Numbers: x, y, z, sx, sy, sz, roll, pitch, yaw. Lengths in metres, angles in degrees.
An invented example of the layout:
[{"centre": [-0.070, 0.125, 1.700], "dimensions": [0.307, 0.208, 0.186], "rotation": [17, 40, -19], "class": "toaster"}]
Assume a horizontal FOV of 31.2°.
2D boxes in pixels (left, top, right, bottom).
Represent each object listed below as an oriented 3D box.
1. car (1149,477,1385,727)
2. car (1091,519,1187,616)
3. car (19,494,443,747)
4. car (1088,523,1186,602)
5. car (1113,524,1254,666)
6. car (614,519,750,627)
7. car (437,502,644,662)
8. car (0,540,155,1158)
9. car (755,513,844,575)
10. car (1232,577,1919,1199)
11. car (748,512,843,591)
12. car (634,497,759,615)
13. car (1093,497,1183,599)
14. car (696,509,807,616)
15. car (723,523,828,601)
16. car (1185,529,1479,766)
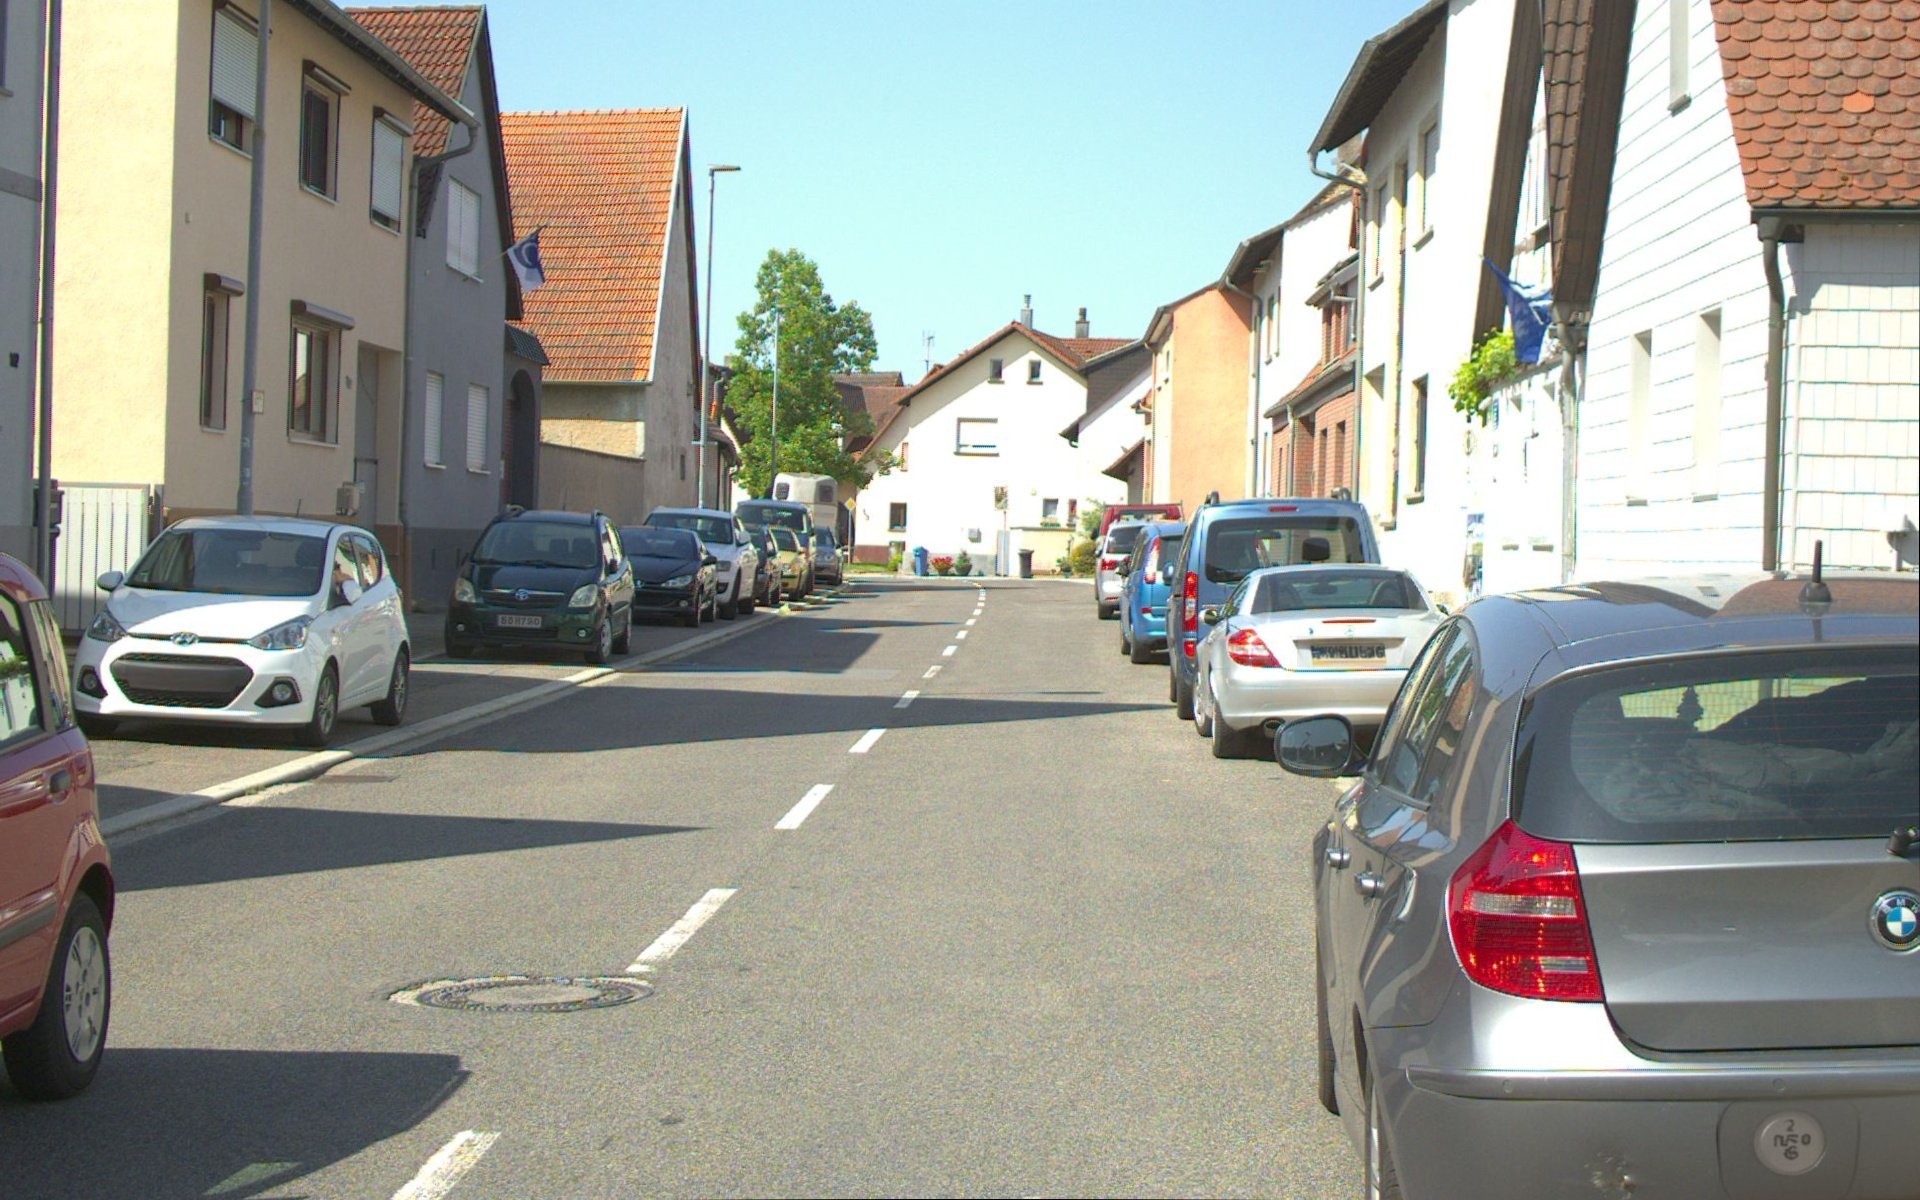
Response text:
[{"centre": [2.540, -0.012, 29.124], "dimensions": [1.649, 1.903, 3.626], "rotation": [3, 1, 1], "class": "car"}, {"centre": [2.981, -0.556, 57.617], "dimensions": [1.420, 1.510, 3.304], "rotation": [3, 1, 1], "class": "car"}, {"centre": [-5.026, 0.100, 24.321], "dimensions": [1.806, 1.542, 4.403], "rotation": [3, 1, 3], "class": "car"}, {"centre": [3.351, -0.710, 65.273], "dimensions": [1.767, 1.428, 3.450], "rotation": [1, 1, 3], "class": "car"}, {"centre": [2.565, -0.083, 39.990], "dimensions": [1.420, 1.510, 3.304], "rotation": [3, 1, 1], "class": "car"}, {"centre": [-3.952, -0.386, 49.242], "dimensions": [1.504, 1.448, 3.508], "rotation": [1, 1, 2], "class": "car"}, {"centre": [-4.513, -0.213, 37.461], "dimensions": [1.619, 1.572, 3.961], "rotation": [3, 1, 1], "class": "car"}, {"centre": [-3.109, 0.584, 7.769], "dimensions": [1.601, 1.484, 3.626], "rotation": [3, 1, 1], "class": "car"}, {"centre": [-3.906, -1.358, 84.090], "dimensions": [1.754, 1.437, 4.000], "rotation": [1, 1, 3], "class": "car"}, {"centre": [1.555, 0.686, 7.390], "dimensions": [1.704, 1.428, 3.889], "rotation": [0, 1, 1], "class": "car"}, {"centre": [-3.536, -1.044, 74.528], "dimensions": [1.754, 1.619, 4.000], "rotation": [1, 1, 1], "class": "car"}, {"centre": [-4.086, -0.697, 53.658], "dimensions": [1.527, 1.707, 3.626], "rotation": [3, 1, 1], "class": "car"}, {"centre": [3.651, -1.055, 70.731], "dimensions": [1.767, 1.997, 3.450], "rotation": [1, 0, 3], "class": "car"}, {"centre": [-3.546, -0.653, 58.943], "dimensions": [1.527, 1.707, 3.626], "rotation": [3, 1, 1], "class": "car"}, {"centre": [-3.557, -0.734, 66.798], "dimensions": [1.754, 1.437, 4.000], "rotation": [1, 1, 1], "class": "car"}, {"centre": [2.528, 0.286, 24.062], "dimensions": [1.704, 1.491, 3.452], "rotation": [-2, 1, 1], "class": "car"}]
